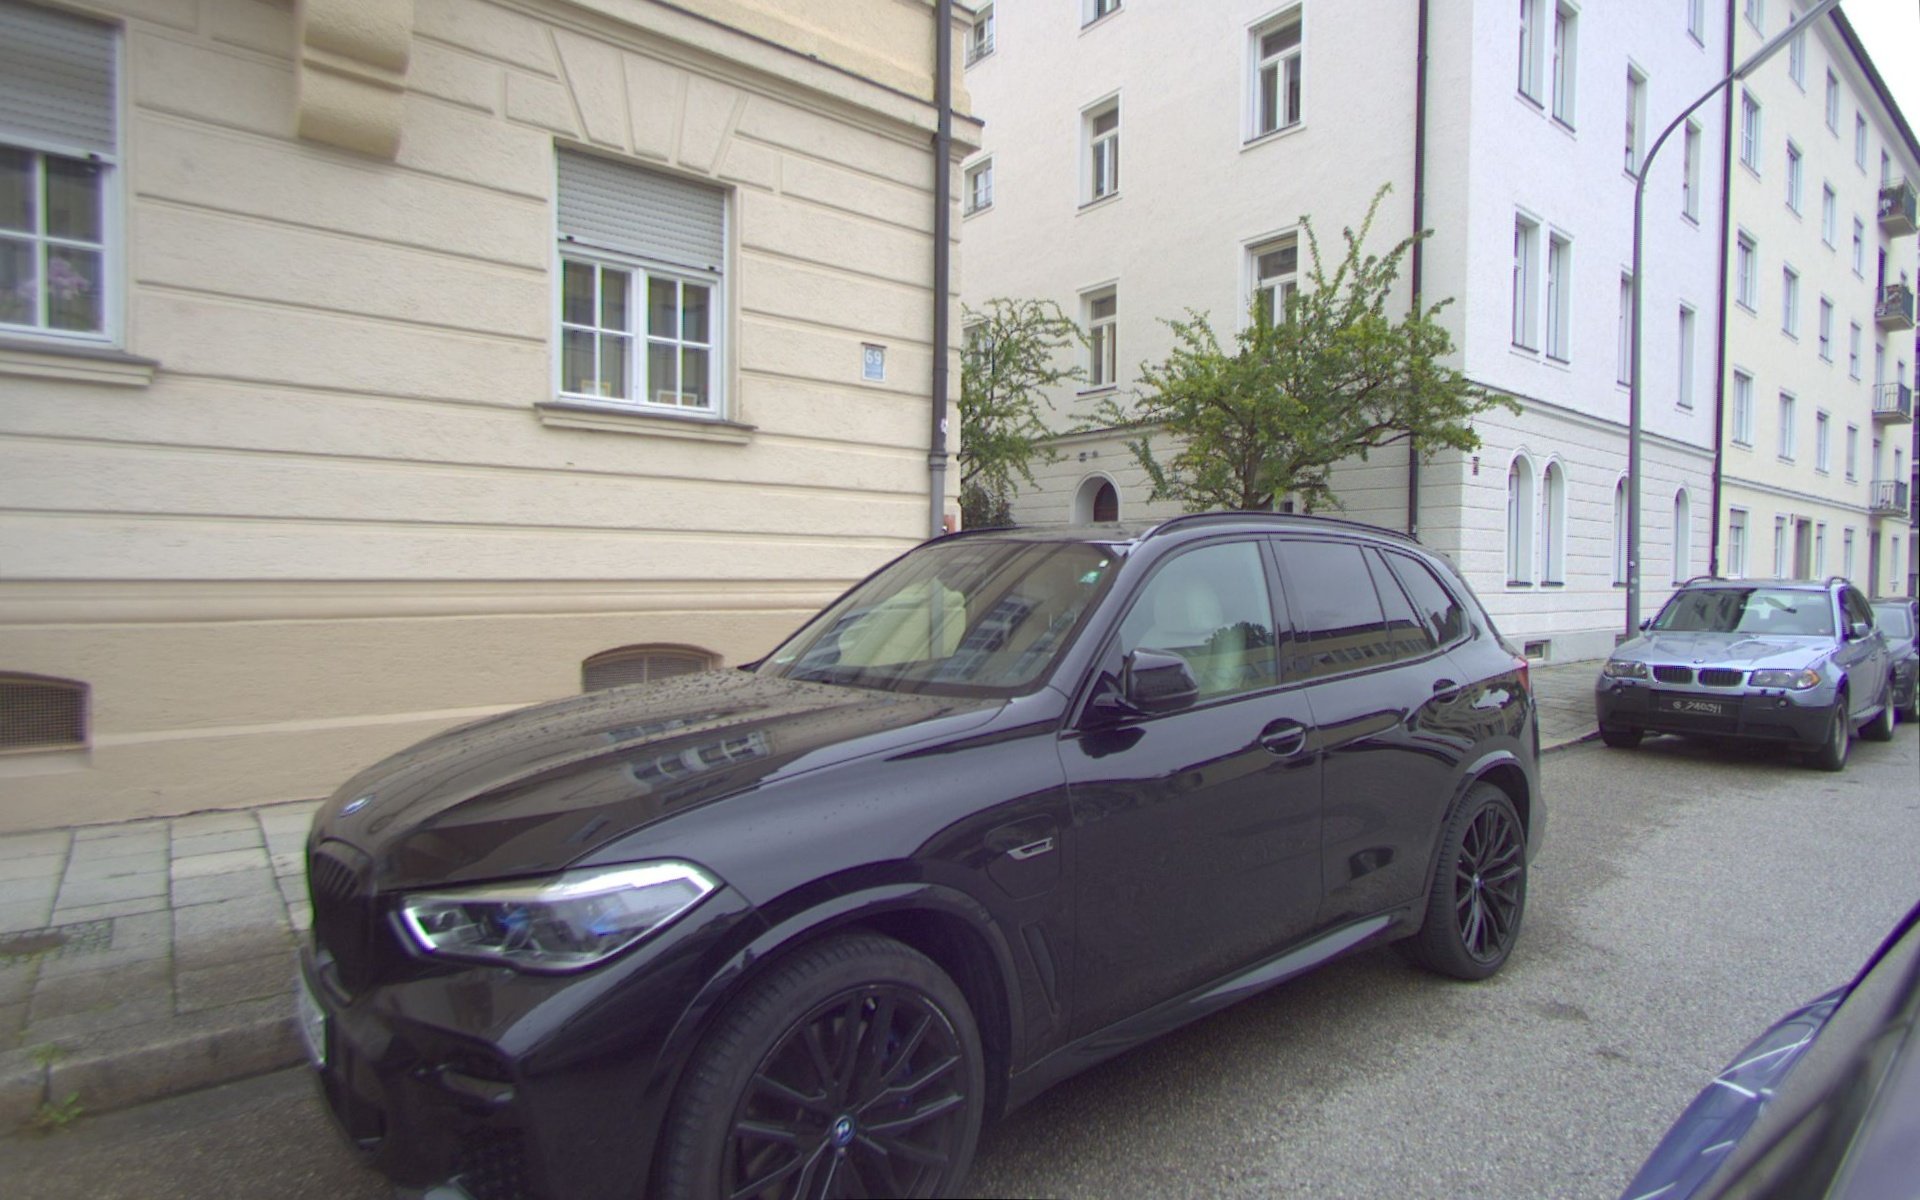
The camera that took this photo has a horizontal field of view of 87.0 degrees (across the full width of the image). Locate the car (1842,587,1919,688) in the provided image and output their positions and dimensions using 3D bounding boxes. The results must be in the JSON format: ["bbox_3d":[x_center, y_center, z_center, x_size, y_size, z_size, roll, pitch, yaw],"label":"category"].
[{"bbox_3d":[15.749,0.548,16.321,4.314,1.445,1.682,-1,2,-41],"label":"car"}]

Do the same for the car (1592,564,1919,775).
[{"bbox_3d":[8.040,0.497,10.025,4.378,1.654,1.726,-1,2,-40],"label":"car"}]

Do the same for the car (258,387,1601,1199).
[{"bbox_3d":[0.399,0.523,3.709,4.778,1.738,1.873,-1,1,-39],"label":"car"}]

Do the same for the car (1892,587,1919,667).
[{"bbox_3d":[19.438,0.489,19.512,4.094,1.445,1.682,-1,2,-41],"label":"car"}]

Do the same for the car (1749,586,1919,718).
[{"bbox_3d":[11.943,0.562,13.281,4.014,1.445,1.683,-1,2,-40],"label":"car"}]
